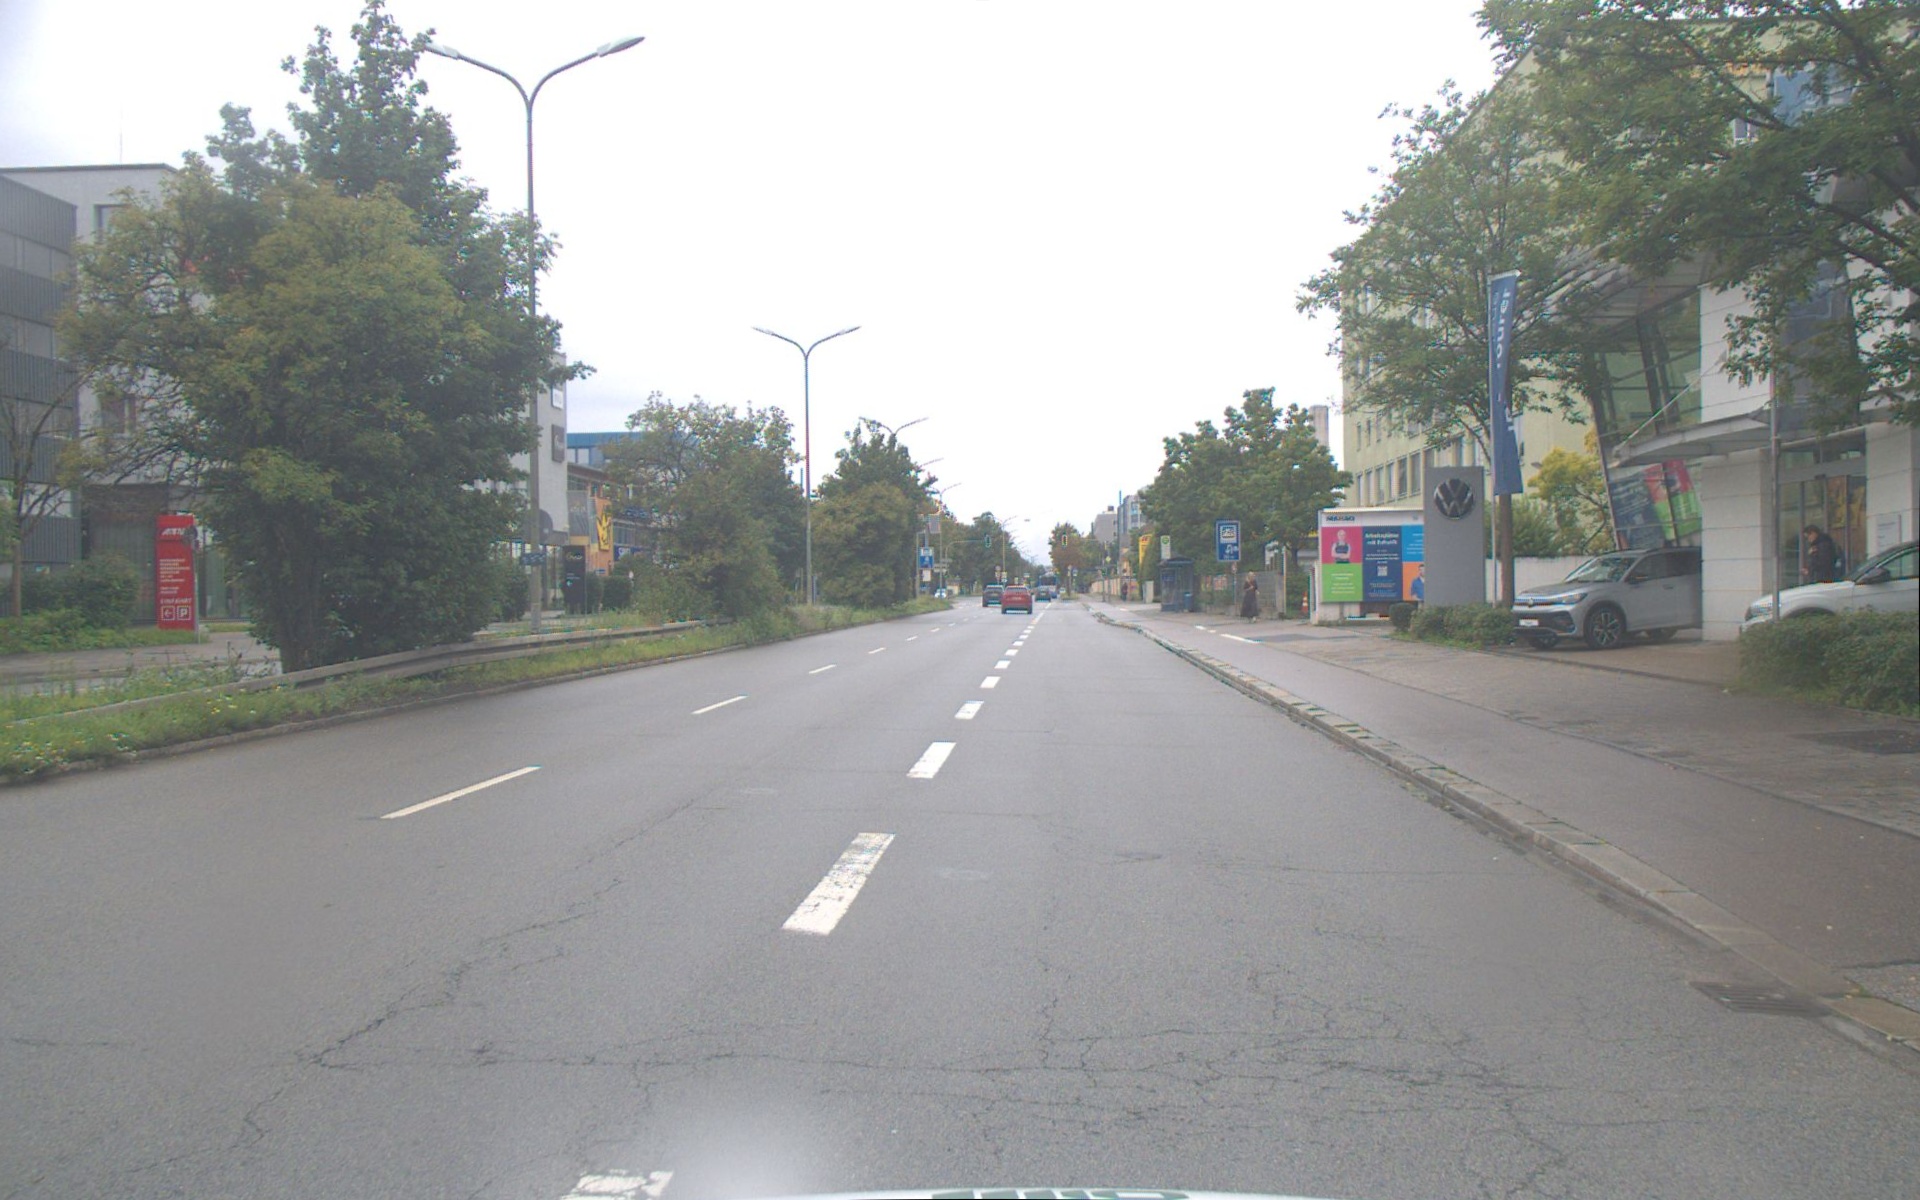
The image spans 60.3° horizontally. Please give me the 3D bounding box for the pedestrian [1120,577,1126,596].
[{"bbox_3d":[14.066,-1.185,142.488,0.473,1.664,0.591,-1,0,2],"label":"pedestrian"}]

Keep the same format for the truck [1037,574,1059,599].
[{"bbox_3d":[12.043,-1.804,226.719,2.907,3.343,7.917,-1,0,2],"label":"truck"}]

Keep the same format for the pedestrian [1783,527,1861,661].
[{"bbox_3d":[11.885,-0.082,22.805,0.799,1.807,0.706,-1,0,-42],"label":"pedestrian"}]

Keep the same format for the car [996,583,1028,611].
[{"bbox_3d":[3.054,-0.171,97.497,1.823,1.646,4.001,0,0,1],"label":"car"}]

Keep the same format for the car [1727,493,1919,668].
[{"bbox_3d":[12.015,-0.279,20.782,4.165,2.049,1.961,-3,-1,27],"label":"car"}]

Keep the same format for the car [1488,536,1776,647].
[{"bbox_3d":[12.021,-0.140,29.639,4.518,1.736,1.997,-3,-1,-18],"label":"car"}]

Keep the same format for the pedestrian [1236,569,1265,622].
[{"bbox_3d":[9.969,-0.159,56.787,0.743,1.758,0.895,-4,0,1],"label":"pedestrian"}]

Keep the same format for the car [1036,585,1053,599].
[{"bbox_3d":[9.133,-0.895,178.511,1.766,1.458,4.001,-1,0,2],"label":"car"}]

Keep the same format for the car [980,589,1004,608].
[{"bbox_3d":[2.505,-0.117,128.326,1.766,1.457,4.001,-1,0,2],"label":"car"}]
